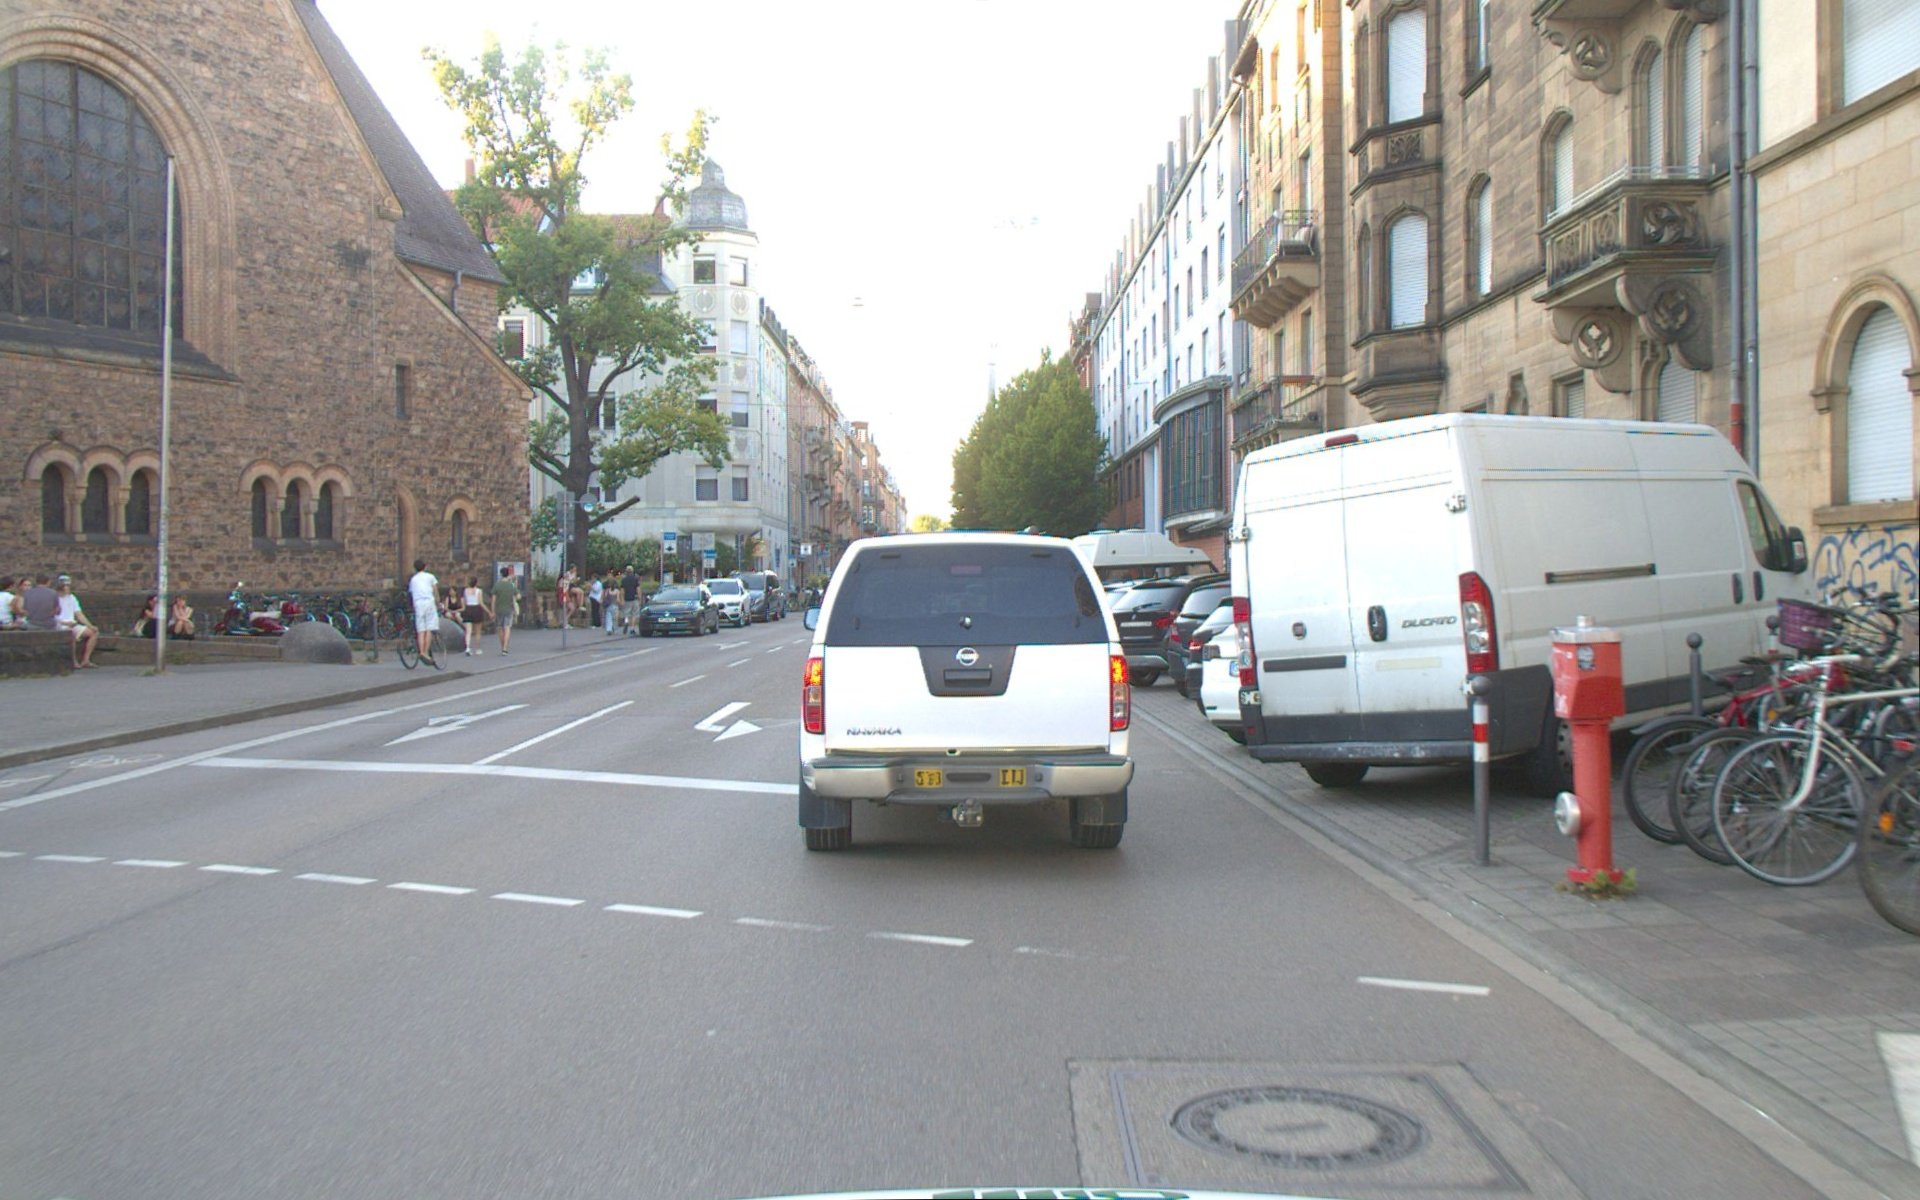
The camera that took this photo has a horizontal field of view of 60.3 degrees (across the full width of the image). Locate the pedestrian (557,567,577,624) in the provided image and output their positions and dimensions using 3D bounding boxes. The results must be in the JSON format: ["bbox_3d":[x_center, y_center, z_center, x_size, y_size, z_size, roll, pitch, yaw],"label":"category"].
[{"bbox_3d":[-11.898,-0.145,50.068,0.411,1.704,0.541,-1,0,-40],"label":"pedestrian"}]

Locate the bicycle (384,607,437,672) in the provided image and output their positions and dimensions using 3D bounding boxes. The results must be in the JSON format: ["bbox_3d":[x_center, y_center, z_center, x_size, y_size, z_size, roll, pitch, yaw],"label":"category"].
[{"bbox_3d":[-9.487,0.661,28.617,0.541,1.030,2.183,1,1,-10],"label":"bicycle"}]

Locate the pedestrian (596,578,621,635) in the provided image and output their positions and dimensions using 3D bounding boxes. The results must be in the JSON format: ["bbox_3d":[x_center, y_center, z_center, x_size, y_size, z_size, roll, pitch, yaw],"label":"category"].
[{"bbox_3d":[-9.805,0.186,46.192,0.570,1.579,0.839,0,0,-4],"label":"pedestrian"}]

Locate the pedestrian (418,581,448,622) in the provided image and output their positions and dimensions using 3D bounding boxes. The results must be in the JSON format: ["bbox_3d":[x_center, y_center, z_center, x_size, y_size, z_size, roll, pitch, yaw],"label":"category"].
[{"bbox_3d":[-13.827,0.037,43.390,0.487,1.066,0.608,0,1,20],"label":"pedestrian"}]

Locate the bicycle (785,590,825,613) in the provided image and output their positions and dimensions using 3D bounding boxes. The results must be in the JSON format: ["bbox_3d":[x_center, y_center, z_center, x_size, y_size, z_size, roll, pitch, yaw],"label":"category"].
[{"bbox_3d":[-7.883,0.086,84.117,2.068,1.114,0.501,0,2,25],"label":"bicycle"}]

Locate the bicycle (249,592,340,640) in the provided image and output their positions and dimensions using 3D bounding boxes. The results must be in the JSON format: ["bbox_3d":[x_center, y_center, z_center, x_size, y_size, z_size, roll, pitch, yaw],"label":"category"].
[{"bbox_3d":[-15.182,0.362,37.723,1.959,1.006,0.586,2,1,15],"label":"bicycle"}]

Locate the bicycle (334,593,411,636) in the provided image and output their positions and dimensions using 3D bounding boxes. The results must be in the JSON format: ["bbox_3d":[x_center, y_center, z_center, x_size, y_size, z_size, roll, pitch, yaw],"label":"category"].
[{"bbox_3d":[-14.277,0.349,40.191,1.838,1.006,0.370,-1,0,14],"label":"bicycle"}]

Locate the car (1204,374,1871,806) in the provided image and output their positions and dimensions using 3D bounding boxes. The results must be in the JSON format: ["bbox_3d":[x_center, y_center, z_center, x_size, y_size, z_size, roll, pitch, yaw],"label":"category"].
[{"bbox_3d":[4.648,-0.127,12.674,5.834,2.596,2.163,-3,-1,-42],"label":"car"}]

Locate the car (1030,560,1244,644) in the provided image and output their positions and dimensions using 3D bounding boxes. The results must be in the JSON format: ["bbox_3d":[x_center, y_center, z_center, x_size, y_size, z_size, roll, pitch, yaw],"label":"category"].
[{"bbox_3d":[3.841,0.022,35.671,4.341,1.512,1.824,-4,1,-31],"label":"car"}]

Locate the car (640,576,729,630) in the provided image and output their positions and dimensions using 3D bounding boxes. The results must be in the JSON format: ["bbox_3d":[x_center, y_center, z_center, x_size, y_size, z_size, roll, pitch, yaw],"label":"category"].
[{"bbox_3d":[-7.938,0.059,48.040,1.746,1.460,4.316,-1,1,1],"label":"car"}]

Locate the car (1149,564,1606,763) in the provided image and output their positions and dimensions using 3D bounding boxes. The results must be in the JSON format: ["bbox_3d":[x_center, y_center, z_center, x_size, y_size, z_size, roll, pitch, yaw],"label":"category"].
[{"bbox_3d":[3.948,0.497,15.330,4.214,1.478,1.972,-3,1,-39],"label":"car"}]

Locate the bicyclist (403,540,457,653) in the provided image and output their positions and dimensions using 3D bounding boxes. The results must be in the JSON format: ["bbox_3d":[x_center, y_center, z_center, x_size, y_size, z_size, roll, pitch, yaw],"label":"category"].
[{"bbox_3d":[-9.173,-0.068,28.636,0.692,1.913,0.941,1,1,-6],"label":"bicyclist"}]

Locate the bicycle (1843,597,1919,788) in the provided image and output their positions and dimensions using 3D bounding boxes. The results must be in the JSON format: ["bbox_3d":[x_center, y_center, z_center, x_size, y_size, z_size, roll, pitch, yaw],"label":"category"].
[{"bbox_3d":[6.133,0.470,9.595,1.738,1.027,0.541,-4,1,-6],"label":"bicycle"}]

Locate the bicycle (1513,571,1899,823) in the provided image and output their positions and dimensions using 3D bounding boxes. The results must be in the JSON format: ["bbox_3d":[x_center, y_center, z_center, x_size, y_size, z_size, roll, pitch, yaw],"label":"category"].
[{"bbox_3d":[4.195,0.518,9.324,1.959,1.225,0.540,-4,1,-9],"label":"bicycle"}]

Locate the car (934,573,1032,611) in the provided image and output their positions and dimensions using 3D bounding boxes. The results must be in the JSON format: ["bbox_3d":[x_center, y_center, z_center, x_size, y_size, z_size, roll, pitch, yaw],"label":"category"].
[{"bbox_3d":[1.017,-0.355,72.189,3.945,1.533,1.753,-1,1,-30],"label":"car"}]

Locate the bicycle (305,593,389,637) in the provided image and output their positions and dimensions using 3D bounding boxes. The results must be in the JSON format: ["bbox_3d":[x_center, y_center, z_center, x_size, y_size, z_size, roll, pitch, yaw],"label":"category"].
[{"bbox_3d":[-14.566,0.355,39.307,1.942,1.006,0.466,-1,0,15],"label":"bicycle"}]

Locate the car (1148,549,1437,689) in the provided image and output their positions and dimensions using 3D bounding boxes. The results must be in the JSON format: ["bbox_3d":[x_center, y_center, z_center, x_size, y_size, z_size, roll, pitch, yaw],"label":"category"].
[{"bbox_3d":[4.431,0.224,21.777,3.883,1.571,1.691,-4,0,-42],"label":"car"}]

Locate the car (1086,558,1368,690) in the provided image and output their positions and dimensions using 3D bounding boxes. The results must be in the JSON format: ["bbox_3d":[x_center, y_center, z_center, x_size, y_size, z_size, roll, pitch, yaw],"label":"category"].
[{"bbox_3d":[3.969,0.320,24.298,4.058,1.635,1.791,-4,1,-39],"label":"car"}]

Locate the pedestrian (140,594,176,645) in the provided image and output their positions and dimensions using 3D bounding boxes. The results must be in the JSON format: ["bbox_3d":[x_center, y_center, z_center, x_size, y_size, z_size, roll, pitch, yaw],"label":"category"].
[{"bbox_3d":[-15.773,0.375,32.517,0.555,0.984,0.642,-1,1,-34],"label":"pedestrian"}]

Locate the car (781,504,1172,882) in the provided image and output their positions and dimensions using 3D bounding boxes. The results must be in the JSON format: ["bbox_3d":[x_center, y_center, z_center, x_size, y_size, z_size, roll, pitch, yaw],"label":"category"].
[{"bbox_3d":[0.056,0.418,10.442,1.894,1.826,4.621,-1,1,-1],"label":"car"}]

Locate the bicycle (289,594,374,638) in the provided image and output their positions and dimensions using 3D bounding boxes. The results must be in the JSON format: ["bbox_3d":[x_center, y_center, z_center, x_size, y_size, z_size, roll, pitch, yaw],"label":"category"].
[{"bbox_3d":[-14.756,0.369,38.828,1.959,1.006,0.466,-1,0,15],"label":"bicycle"}]

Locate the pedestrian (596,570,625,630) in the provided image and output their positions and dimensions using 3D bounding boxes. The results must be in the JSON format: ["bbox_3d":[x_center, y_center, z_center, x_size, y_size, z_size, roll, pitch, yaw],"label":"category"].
[{"bbox_3d":[-10.422,0.003,49.360,0.699,1.755,0.692,-1,0,0],"label":"pedestrian"}]

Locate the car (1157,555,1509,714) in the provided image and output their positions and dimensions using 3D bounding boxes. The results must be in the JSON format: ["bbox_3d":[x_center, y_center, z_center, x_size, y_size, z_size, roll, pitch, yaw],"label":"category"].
[{"bbox_3d":[4.242,0.350,18.550,3.881,1.471,1.847,-4,0,-40],"label":"car"}]

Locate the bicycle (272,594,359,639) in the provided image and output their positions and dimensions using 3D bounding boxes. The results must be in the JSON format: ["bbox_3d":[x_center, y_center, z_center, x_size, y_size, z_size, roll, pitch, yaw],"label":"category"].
[{"bbox_3d":[-14.939,0.377,38.349,1.959,1.006,0.466,-1,0,15],"label":"bicycle"}]

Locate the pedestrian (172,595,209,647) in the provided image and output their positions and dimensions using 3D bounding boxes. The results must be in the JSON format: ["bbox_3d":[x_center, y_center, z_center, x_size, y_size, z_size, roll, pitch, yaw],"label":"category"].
[{"bbox_3d":[-15.311,0.403,32.903,0.555,1.009,0.688,-1,1,-34],"label":"pedestrian"}]

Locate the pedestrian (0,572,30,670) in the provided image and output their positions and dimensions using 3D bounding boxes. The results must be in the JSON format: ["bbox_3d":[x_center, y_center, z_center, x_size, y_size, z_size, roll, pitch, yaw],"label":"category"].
[{"bbox_3d":[-14.169,0.306,24.504,0.394,1.431,0.546,-1,0,34],"label":"pedestrian"}]

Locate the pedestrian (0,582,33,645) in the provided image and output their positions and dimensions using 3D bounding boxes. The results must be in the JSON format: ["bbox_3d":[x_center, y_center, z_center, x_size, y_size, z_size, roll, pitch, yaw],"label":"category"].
[{"bbox_3d":[-17.340,0.239,30.013,0.679,1.113,1.314,-1,1,-40],"label":"pedestrian"}]

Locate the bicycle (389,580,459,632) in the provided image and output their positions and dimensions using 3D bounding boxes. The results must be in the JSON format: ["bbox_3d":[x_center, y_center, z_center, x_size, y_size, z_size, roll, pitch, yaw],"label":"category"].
[{"bbox_3d":[-13.591,0.155,41.918,1.691,1.270,0.437,-1,1,14],"label":"bicycle"}]

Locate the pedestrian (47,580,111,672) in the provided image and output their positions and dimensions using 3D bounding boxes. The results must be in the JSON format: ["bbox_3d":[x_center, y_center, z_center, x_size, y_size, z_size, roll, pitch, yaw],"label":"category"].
[{"bbox_3d":[-13.889,0.401,26.078,0.689,1.431,0.630,-1,0,35],"label":"pedestrian"}]

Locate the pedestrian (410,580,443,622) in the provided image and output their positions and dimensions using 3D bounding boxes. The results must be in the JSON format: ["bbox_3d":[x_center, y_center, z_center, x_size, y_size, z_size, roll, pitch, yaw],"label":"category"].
[{"bbox_3d":[-13.761,0.032,42.665,0.729,1.066,0.515,-1,1,-31],"label":"pedestrian"}]

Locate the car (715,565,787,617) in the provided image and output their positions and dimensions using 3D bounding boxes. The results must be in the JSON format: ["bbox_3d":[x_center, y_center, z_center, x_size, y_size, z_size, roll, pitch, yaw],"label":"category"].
[{"bbox_3d":[-7.915,-0.375,63.169,1.952,1.899,5.290,-1,1,1],"label":"car"}]

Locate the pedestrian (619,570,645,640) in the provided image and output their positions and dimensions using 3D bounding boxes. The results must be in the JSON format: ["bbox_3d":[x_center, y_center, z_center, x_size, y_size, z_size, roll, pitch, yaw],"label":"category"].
[{"bbox_3d":[-9.165,0.141,46.230,0.570,1.938,0.802,-1,0,-4],"label":"pedestrian"}]

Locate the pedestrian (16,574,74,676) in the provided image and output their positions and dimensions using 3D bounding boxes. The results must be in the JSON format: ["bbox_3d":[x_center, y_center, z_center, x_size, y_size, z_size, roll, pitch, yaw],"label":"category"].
[{"bbox_3d":[-13.517,0.357,24.432,0.539,1.479,0.556,-1,0,35],"label":"pedestrian"}]

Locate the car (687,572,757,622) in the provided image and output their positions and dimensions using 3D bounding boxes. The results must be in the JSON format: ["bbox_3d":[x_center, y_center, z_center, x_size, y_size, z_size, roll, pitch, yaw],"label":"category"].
[{"bbox_3d":[-8.022,-0.124,56.049,1.833,1.619,4.467,-1,1,-2],"label":"car"}]

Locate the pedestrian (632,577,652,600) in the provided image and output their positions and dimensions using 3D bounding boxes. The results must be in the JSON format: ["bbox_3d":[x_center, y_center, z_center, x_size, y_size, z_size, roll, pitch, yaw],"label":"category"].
[{"bbox_3d":[-13.781,-0.489,71.632,0.692,0.997,0.837,-1,0,-2],"label":"pedestrian"}]

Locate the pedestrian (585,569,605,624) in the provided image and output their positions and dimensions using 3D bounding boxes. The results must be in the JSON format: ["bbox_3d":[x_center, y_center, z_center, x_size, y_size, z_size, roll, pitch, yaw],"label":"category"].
[{"bbox_3d":[-11.144,-0.105,50.499,0.411,1.650,0.541,-1,0,-40],"label":"pedestrian"}]

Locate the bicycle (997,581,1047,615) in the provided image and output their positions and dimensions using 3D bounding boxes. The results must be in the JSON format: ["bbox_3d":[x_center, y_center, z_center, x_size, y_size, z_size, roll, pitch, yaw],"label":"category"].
[{"bbox_3d":[2.377,-0.080,63.618,1.821,1.166,0.659,-4,1,-1],"label":"bicycle"}]

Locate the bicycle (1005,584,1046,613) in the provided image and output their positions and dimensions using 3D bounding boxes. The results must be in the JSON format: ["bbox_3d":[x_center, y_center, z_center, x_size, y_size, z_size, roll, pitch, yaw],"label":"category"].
[{"bbox_3d":[2.578,-0.054,65.097,1.509,1.056,0.472,-3,1,-2],"label":"bicycle"}]

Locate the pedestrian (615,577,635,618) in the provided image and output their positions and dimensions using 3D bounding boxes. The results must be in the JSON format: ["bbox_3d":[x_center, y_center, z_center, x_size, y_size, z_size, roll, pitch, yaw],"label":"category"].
[{"bbox_3d":[-14.493,-0.103,71.624,0.692,1.751,0.837,-1,0,-2],"label":"pedestrian"}]

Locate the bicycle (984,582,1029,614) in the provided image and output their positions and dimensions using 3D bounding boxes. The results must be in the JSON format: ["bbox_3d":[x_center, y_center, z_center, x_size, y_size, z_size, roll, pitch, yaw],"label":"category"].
[{"bbox_3d":[1.818,-0.081,64.533,1.673,1.196,0.472,-3,1,-2],"label":"bicycle"}]

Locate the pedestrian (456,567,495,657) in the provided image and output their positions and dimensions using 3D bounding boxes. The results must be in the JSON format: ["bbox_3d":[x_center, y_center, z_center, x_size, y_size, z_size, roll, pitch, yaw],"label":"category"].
[{"bbox_3d":[-10.339,0.253,35.331,0.561,1.889,0.988,-1,1,-3],"label":"pedestrian"}]

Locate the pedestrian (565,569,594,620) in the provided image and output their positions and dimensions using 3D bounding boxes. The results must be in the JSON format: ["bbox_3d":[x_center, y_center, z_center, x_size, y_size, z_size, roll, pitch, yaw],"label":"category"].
[{"bbox_3d":[-11.724,-0.165,50.917,0.637,1.572,0.585,0,0,23],"label":"pedestrian"}]

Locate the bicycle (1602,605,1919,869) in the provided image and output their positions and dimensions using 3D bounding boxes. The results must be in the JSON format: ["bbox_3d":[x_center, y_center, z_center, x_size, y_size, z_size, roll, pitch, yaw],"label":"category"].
[{"bbox_3d":[4.256,0.640,8.184,1.959,1.106,0.540,-4,1,-9],"label":"bicycle"}]

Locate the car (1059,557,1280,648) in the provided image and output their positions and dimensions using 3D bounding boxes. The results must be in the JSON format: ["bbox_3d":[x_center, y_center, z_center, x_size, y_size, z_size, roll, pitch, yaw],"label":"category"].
[{"bbox_3d":[4.188,0.045,32.947,4.063,1.573,1.778,-2,-1,-29],"label":"car"}]

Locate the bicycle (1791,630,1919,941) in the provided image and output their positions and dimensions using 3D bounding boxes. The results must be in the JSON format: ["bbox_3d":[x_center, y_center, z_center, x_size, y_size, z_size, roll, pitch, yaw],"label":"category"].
[{"bbox_3d":[4.407,0.652,6.606,1.959,1.106,0.540,-4,1,-9],"label":"bicycle"}]

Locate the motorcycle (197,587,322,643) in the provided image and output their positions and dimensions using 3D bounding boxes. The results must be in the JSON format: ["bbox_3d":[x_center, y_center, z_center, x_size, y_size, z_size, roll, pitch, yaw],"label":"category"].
[{"bbox_3d":[-15.256,0.316,36.047,2.364,1.145,0.822,1,1,3],"label":"motorcycle"}]

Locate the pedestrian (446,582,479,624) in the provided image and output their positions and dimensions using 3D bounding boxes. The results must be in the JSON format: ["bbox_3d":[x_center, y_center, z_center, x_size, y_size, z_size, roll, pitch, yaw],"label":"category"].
[{"bbox_3d":[-13.093,0.078,43.542,0.505,1.074,0.700,-1,0,17],"label":"pedestrian"}]

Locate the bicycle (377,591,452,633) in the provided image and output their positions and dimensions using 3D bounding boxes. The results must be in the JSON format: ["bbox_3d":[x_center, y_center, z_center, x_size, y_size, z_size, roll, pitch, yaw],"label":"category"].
[{"bbox_3d":[-13.671,0.301,41.435,1.838,1.006,0.442,-1,0,15],"label":"bicycle"}]

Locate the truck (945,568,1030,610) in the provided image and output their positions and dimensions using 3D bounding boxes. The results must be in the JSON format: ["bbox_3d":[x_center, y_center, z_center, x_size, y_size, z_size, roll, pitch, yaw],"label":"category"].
[{"bbox_3d":[2.025,-0.787,121.772,6.190,3.029,2.264,0,-2,1],"label":"truck"}]

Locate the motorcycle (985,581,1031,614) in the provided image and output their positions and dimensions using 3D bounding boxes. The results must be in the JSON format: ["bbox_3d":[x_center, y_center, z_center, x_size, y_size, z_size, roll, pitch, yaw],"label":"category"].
[{"bbox_3d":[1.818,-0.097,62.405,1.614,1.120,0.646,-3,1,-9],"label":"motorcycle"}]

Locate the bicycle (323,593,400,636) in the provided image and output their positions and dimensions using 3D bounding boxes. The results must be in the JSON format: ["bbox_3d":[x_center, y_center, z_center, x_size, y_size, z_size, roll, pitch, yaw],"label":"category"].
[{"bbox_3d":[-14.391,0.357,39.745,1.838,1.006,0.370,-1,0,15],"label":"bicycle"}]

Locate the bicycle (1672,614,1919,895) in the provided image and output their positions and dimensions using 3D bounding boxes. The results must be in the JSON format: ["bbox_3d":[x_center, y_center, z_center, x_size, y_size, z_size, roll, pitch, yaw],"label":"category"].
[{"bbox_3d":[4.328,0.645,7.543,1.959,1.106,0.540,-4,1,-9],"label":"bicycle"}]

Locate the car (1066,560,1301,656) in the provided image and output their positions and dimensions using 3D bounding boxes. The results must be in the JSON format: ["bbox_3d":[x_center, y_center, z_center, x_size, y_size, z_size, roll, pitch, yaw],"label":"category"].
[{"bbox_3d":[4.083,0.135,30.010,3.989,1.456,1.845,-4,1,-35],"label":"car"}]

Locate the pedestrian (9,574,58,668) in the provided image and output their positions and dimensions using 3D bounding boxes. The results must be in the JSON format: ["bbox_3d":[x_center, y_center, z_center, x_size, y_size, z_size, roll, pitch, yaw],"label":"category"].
[{"bbox_3d":[-14.286,0.316,25.497,0.537,1.431,0.457,-1,0,35],"label":"pedestrian"}]

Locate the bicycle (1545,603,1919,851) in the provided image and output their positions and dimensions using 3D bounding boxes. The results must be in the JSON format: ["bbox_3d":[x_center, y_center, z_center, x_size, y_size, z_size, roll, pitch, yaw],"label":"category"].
[{"bbox_3d":[4.170,0.640,8.755,1.959,1.106,0.540,-4,1,-9],"label":"bicycle"}]

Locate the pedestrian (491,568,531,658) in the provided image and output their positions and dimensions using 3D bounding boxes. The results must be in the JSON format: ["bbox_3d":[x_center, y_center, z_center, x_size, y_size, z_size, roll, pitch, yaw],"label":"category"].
[{"bbox_3d":[-9.665,0.263,35.629,0.634,1.912,0.891,-1,1,-3],"label":"pedestrian"}]

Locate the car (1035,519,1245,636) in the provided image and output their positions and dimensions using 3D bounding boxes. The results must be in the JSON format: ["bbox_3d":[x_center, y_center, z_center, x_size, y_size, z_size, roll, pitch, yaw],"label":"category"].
[{"bbox_3d":[4.219,-0.527,38.598,4.660,2.591,1.899,-1,0,-30],"label":"car"}]
